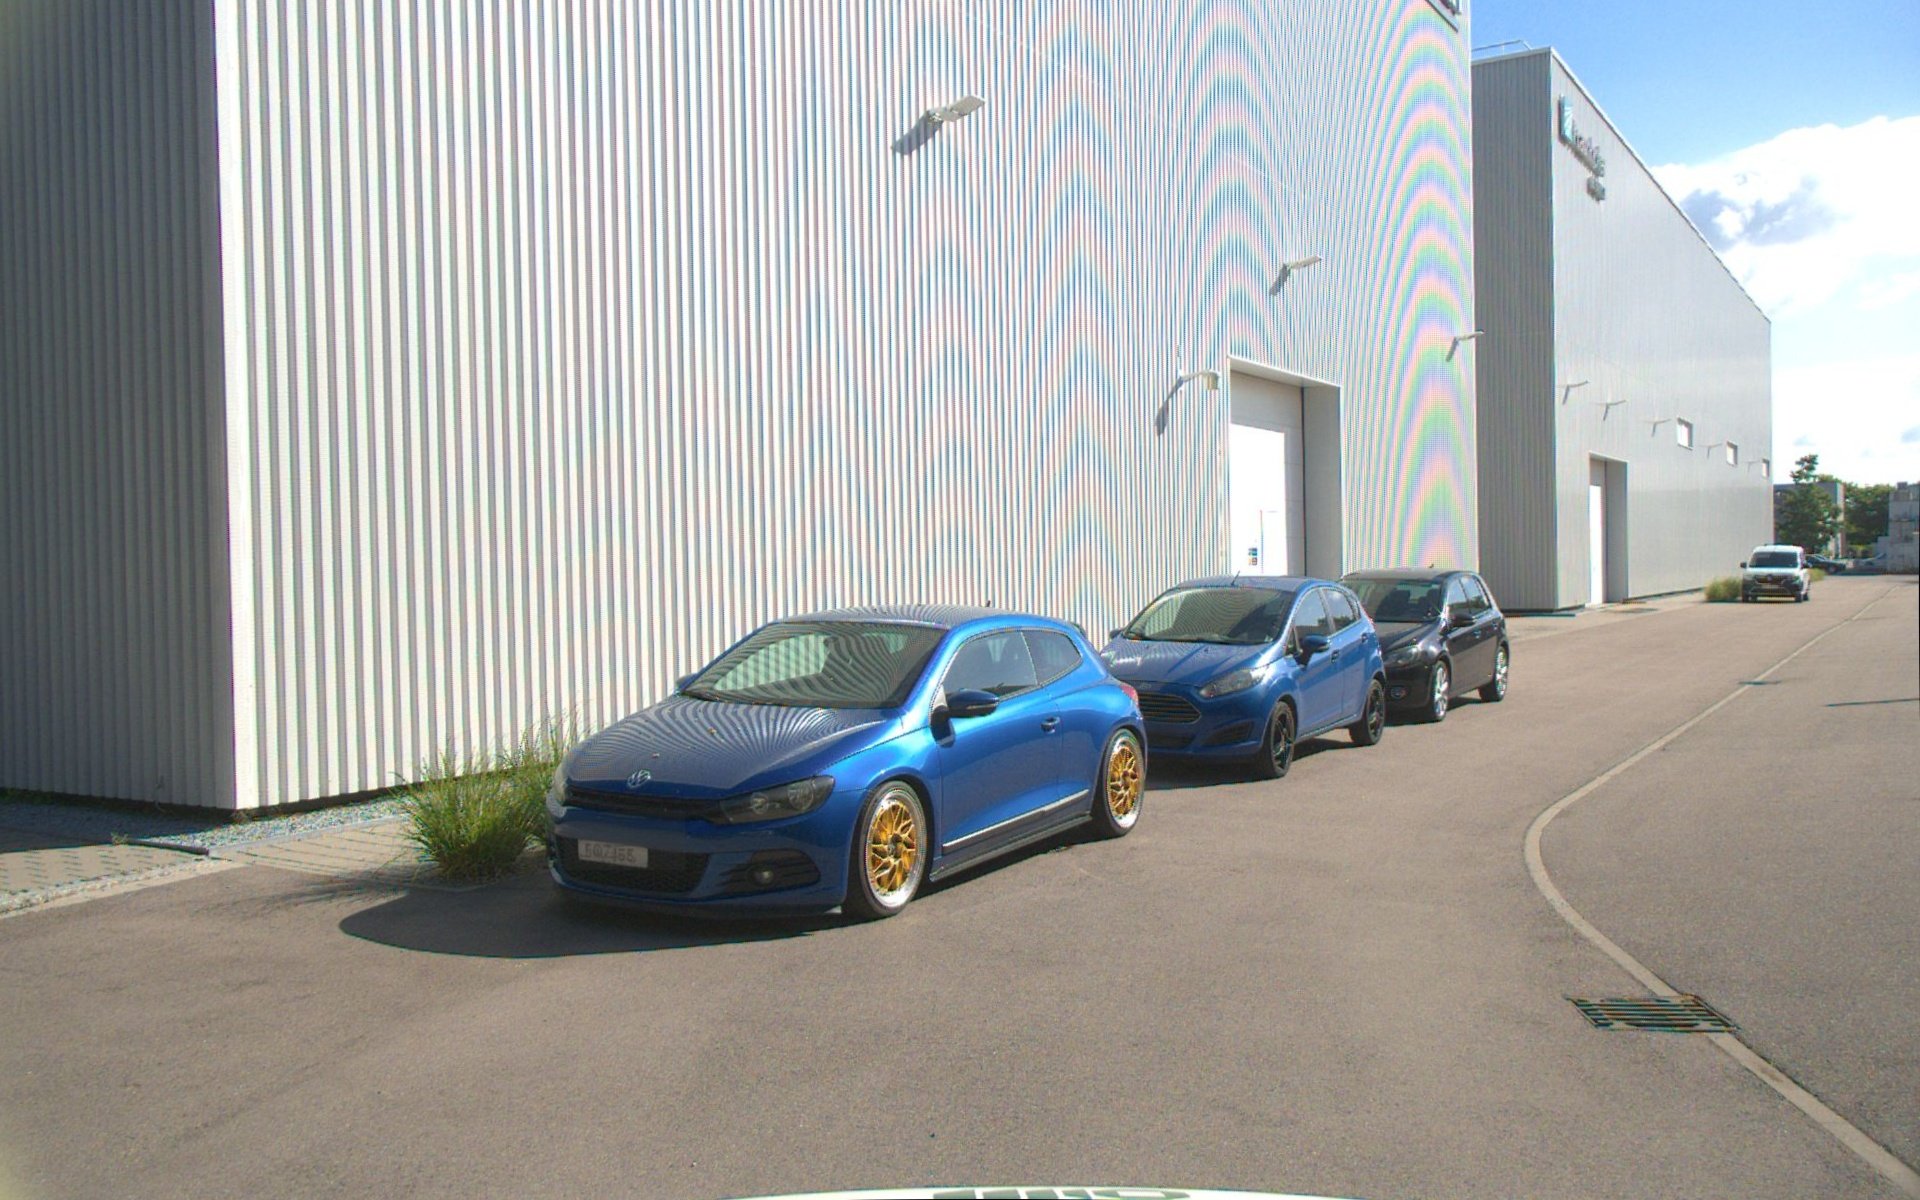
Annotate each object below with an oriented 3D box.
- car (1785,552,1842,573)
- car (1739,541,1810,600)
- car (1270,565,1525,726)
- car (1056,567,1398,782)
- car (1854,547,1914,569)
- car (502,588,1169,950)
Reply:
[{"bbox_3d":[65.652,-2.884,127.202,3.813,1.487,1.620,-1,1,31],"label":"car"},{"bbox_3d":[26.881,-0.980,54.553,1.872,1.825,3.993,-1,1,29],"label":"car"},{"bbox_3d":[4.827,0.388,17.906,1.620,1.471,3.869,3,3,31],"label":"car"},{"bbox_3d":[2.338,0.485,13.670,1.589,1.472,3.758,0,2,30],"label":"car"},{"bbox_3d":[68.995,-3.133,123.523,3.817,1.487,1.618,-1,1,34],"label":"car"},{"bbox_3d":[-0.406,0.677,8.866,1.637,1.373,3.946,1,2,30],"label":"car"}]
